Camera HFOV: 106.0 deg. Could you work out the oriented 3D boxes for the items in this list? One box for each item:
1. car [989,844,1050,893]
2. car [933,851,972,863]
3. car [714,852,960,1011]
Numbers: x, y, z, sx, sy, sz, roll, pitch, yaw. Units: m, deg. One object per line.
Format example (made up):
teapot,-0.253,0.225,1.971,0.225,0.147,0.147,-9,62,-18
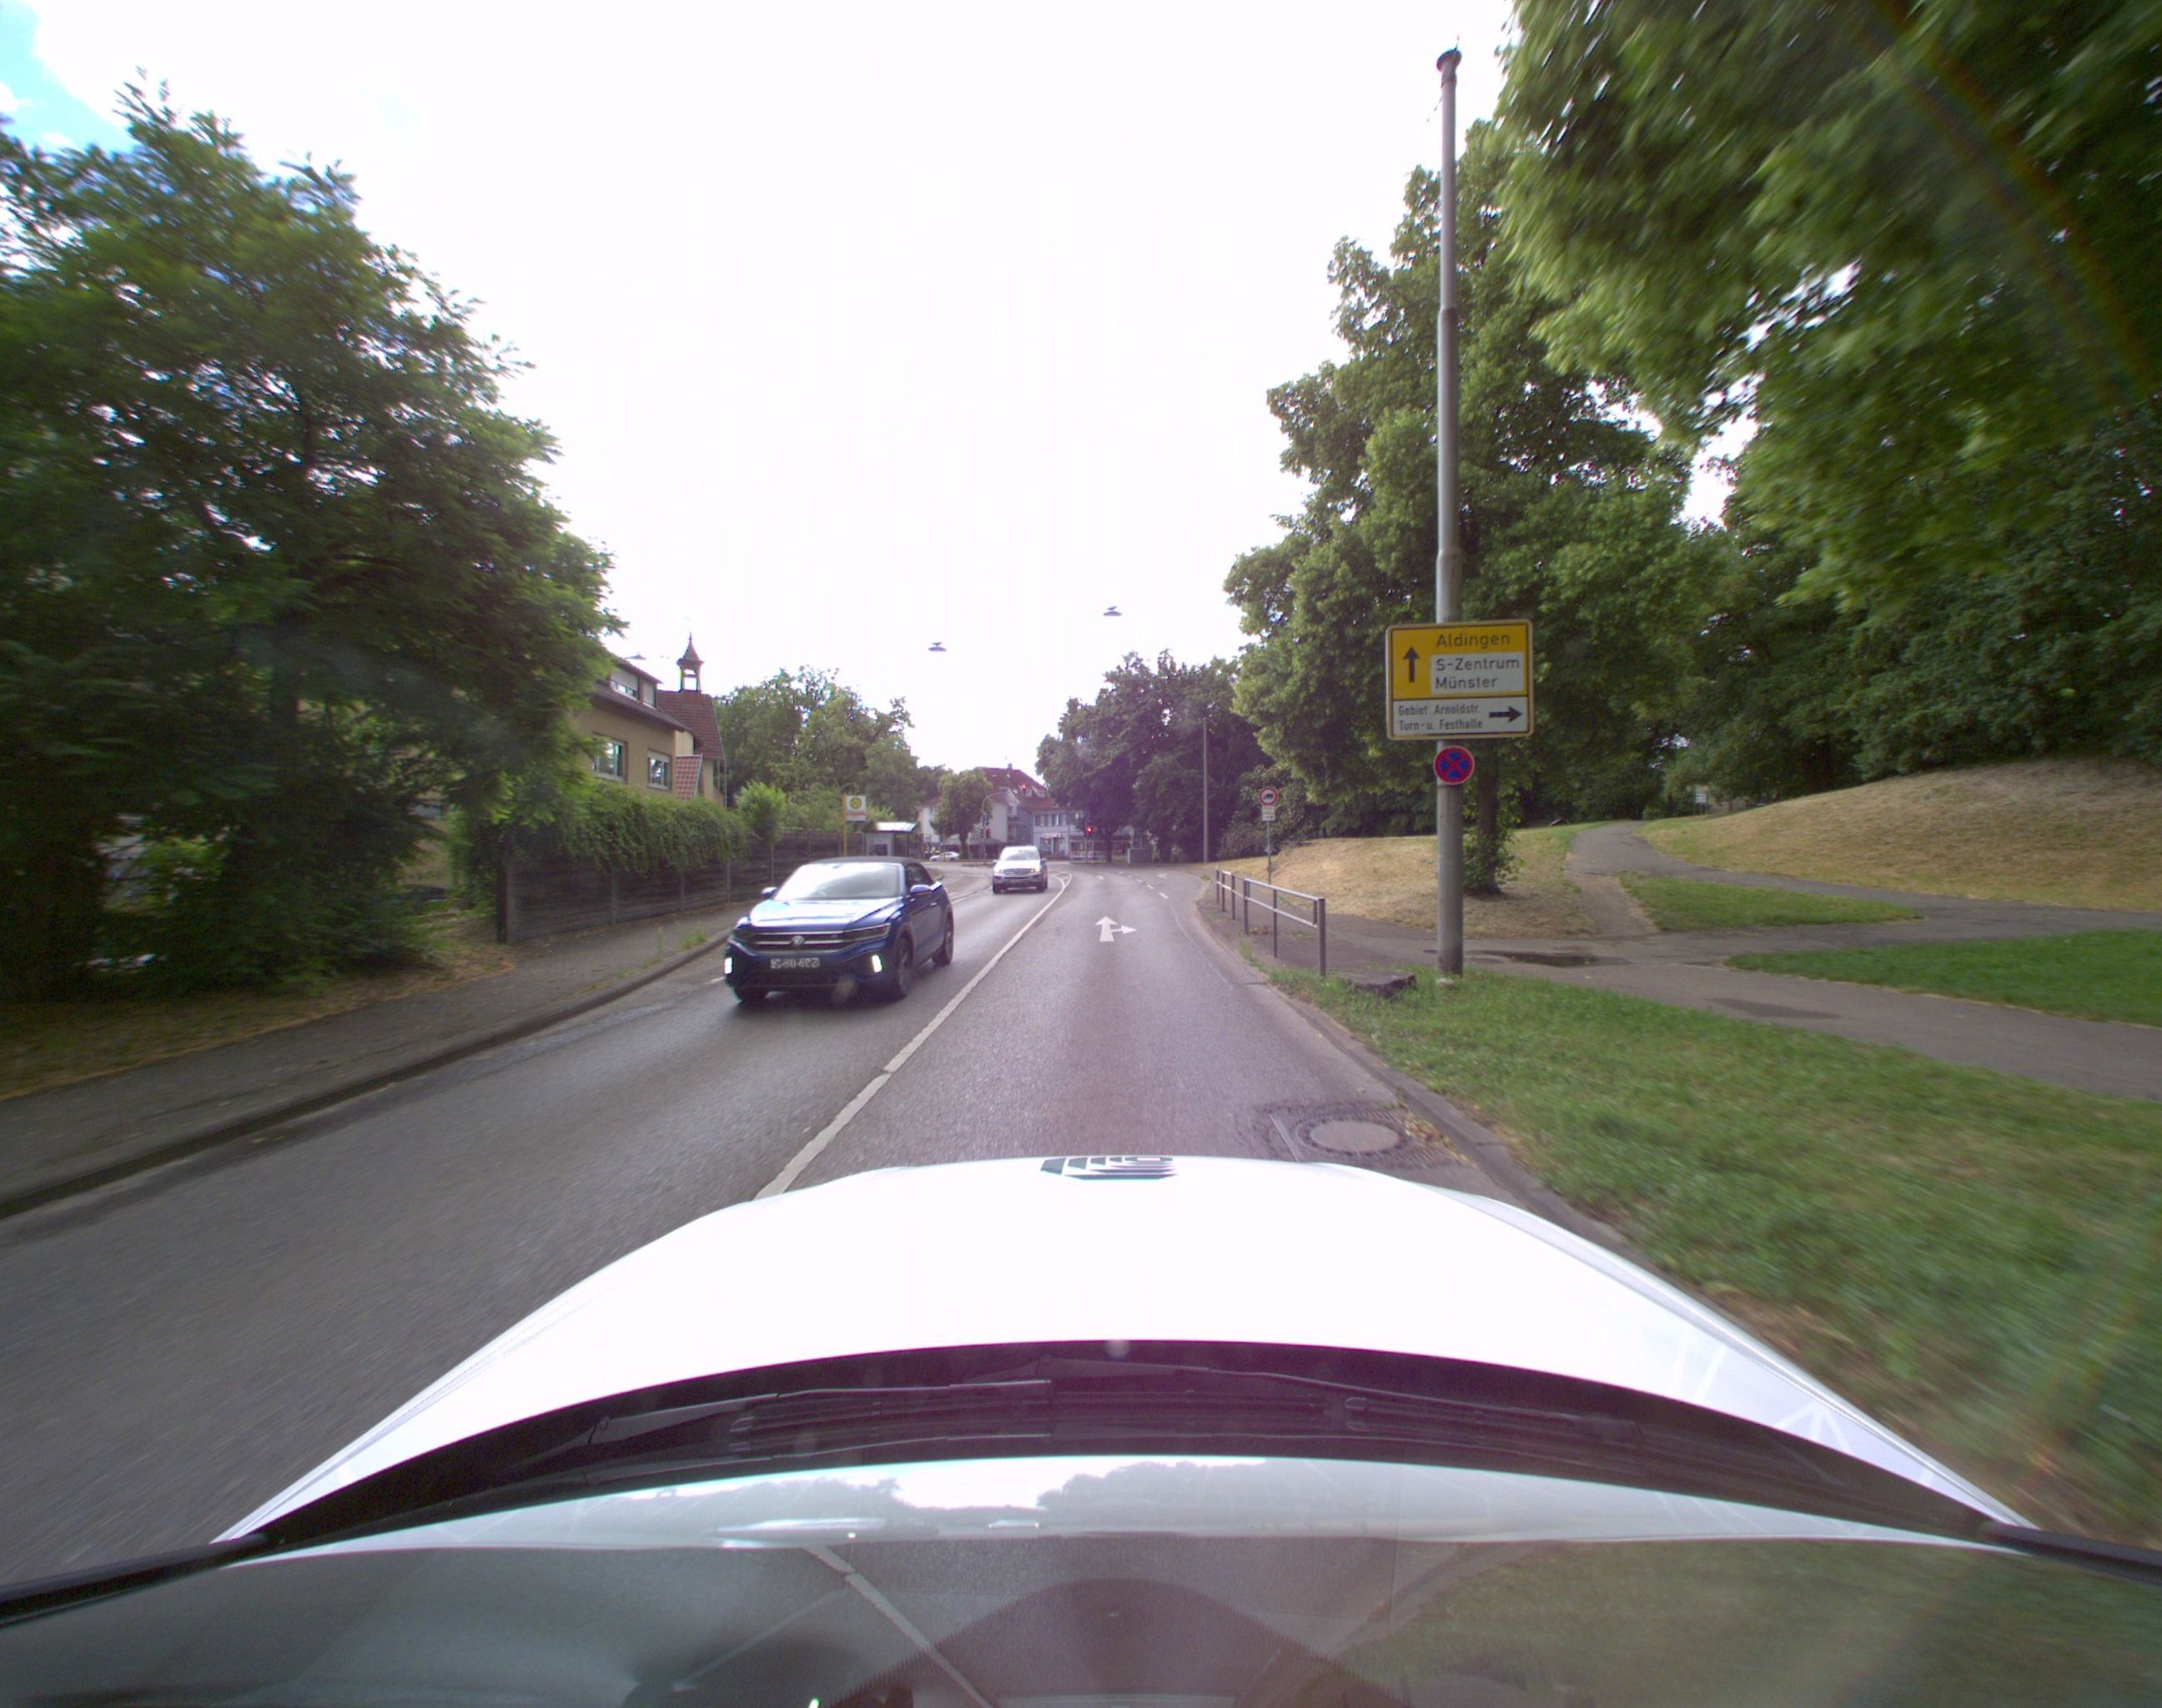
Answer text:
car,-2.334,0.522,31.926,1.928,1.724,4.693,-1,0,1
car,-16.946,0.391,107.623,4.542,1.517,2.009,-1,0,16
car,-2.680,0.746,9.974,1.710,1.468,4.099,-1,1,0
